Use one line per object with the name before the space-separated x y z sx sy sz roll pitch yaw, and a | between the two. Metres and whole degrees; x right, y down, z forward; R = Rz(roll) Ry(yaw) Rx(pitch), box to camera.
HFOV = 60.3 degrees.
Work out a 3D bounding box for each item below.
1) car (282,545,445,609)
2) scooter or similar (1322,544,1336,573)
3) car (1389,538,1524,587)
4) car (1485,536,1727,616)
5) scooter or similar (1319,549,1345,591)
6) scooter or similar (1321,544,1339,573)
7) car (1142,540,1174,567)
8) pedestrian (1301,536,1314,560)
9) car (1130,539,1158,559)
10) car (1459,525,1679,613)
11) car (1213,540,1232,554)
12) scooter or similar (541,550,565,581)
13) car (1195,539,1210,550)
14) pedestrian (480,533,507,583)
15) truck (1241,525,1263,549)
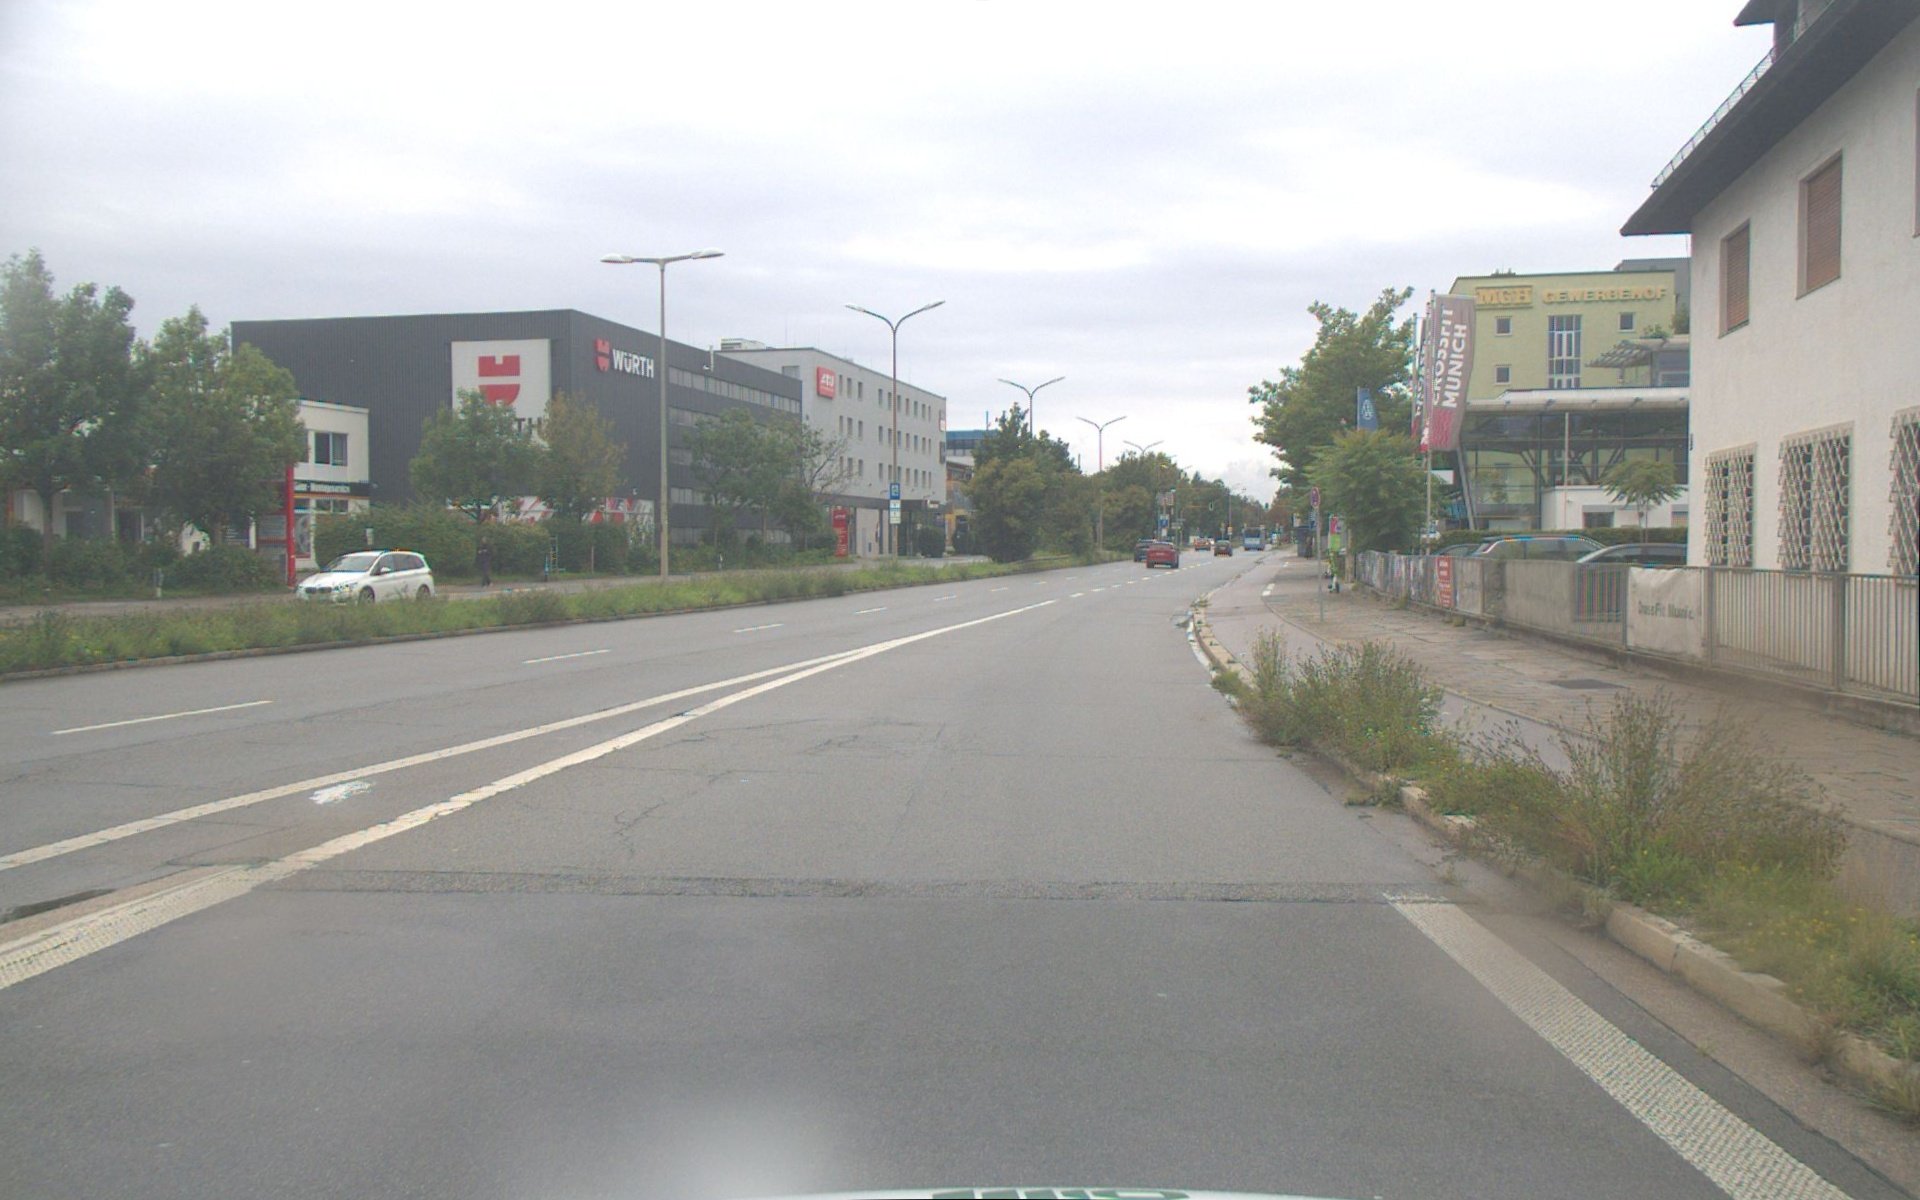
car | -15.845 -0.643 44.218 1.951 1.599 4.579 0 1 12
scooter or similar | 16.614 -1.868 74.519 0.485 1.225 1.431 -3 2 9
car | 15.648 -1.197 52.307 3.928 1.485 1.795 0 2 12
car | 12.284 -0.484 31.699 4.008 1.475 1.929 0 2 10
scooter or similar | 11.620 -0.935 51.688 0.389 1.244 1.639 -3 1 -1
scooter or similar | 16.180 -1.801 72.296 0.485 1.225 1.430 -3 1 3
car | 12.356 -2.883 103.209 1.822 1.646 4.004 1 2 9
pedestrian | 26.099 -3.916 124.199 0.742 1.758 0.896 -4 1 7
car | 13.698 -3.781 122.971 1.765 1.457 4.004 0 2 10
car | 12.616 -0.659 34.496 4.008 1.756 1.929 0 2 10
car | 26.834 -5.445 169.109 1.765 1.457 4.004 0 2 10
scooter or similar | -16.845 -1.437 68.444 0.436 1.248 1.389 0 2 10
car | 31.752 -7.319 216.729 1.765 1.457 4.004 0 2 10
pedestrian | -17.487 -1.595 62.006 0.609 1.861 0.818 0 2 12
truck | 40.977 -8.831 231.940 2.905 3.342 7.924 0 2 10
